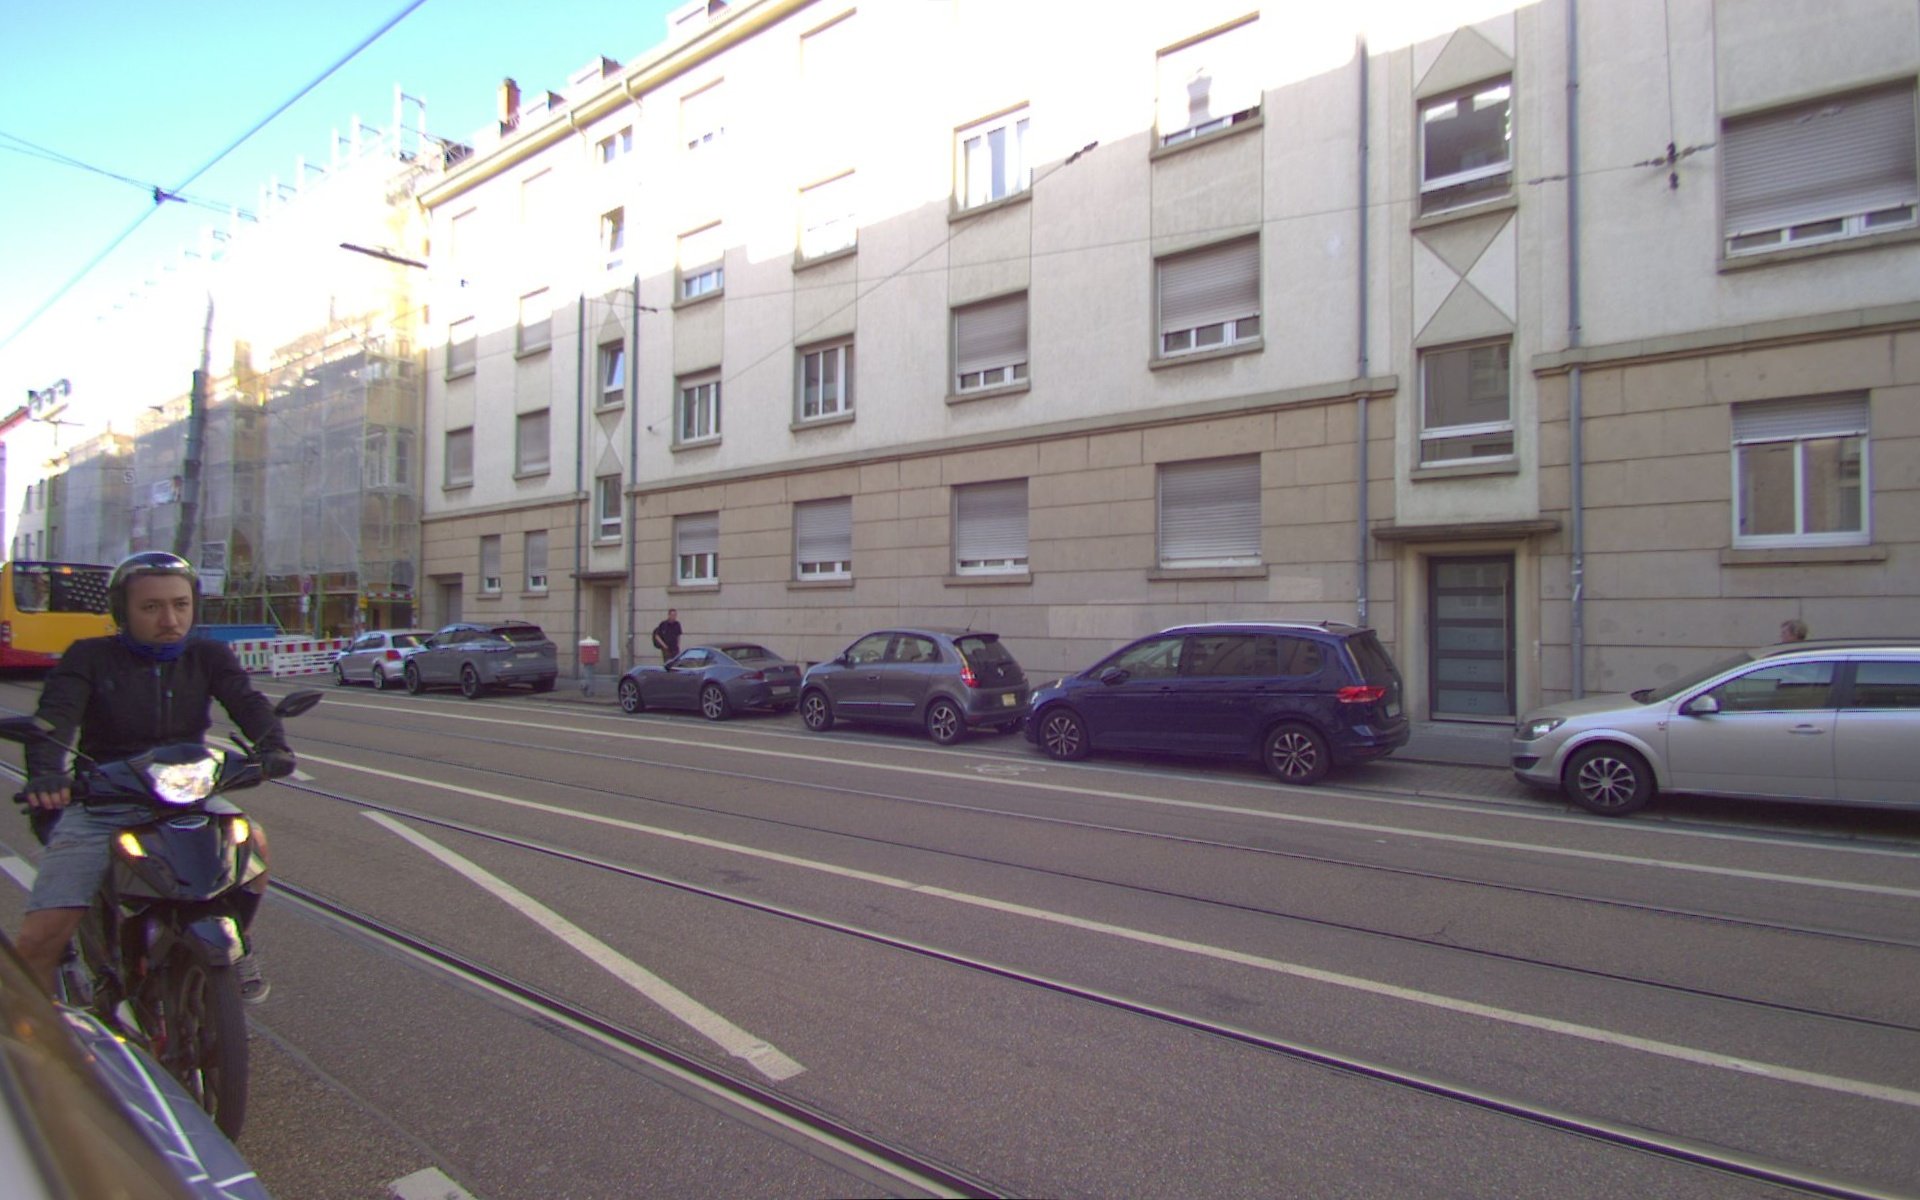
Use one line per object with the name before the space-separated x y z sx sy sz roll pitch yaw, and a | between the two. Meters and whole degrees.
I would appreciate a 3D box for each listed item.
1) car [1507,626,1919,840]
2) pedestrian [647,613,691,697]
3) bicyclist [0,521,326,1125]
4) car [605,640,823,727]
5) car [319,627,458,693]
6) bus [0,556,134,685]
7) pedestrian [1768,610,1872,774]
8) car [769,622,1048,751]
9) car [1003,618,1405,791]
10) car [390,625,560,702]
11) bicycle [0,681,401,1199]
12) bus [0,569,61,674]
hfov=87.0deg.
car | 7.165 1.011 8.443 4.380 1.521 1.683 0 0 38
pedestrian | -6.042 1.130 21.020 0.716 1.707 0.575 -1 -1 38
bicyclist | -2.630 0.595 3.155 0.849 1.566 0.833 -1 -3 38
car | -4.318 1.368 17.554 3.779 1.225 1.684 0 0 37
car | -14.534 1.462 25.681 3.995 1.426 1.683 0 1 39
bus | -26.010 0.613 28.334 7.565 3.186 2.712 -1 -3 37
pedestrian | 8.610 0.893 10.144 0.721 1.560 0.690 -2 -3 41
car | -0.832 1.146 14.842 3.995 1.581 1.683 -1 0 39
car | 2.723 1.049 11.744 4.235 1.627 1.684 0 0 36
car | -10.956 1.361 22.747 4.400 1.580 1.683 -1 -3 39
bicycle | -2.570 0.888 3.127 1.971 1.186 0.731 -1 -3 38
bus | -33.078 0.752 33.765 10.180 3.182 2.696 -1 -3 38
